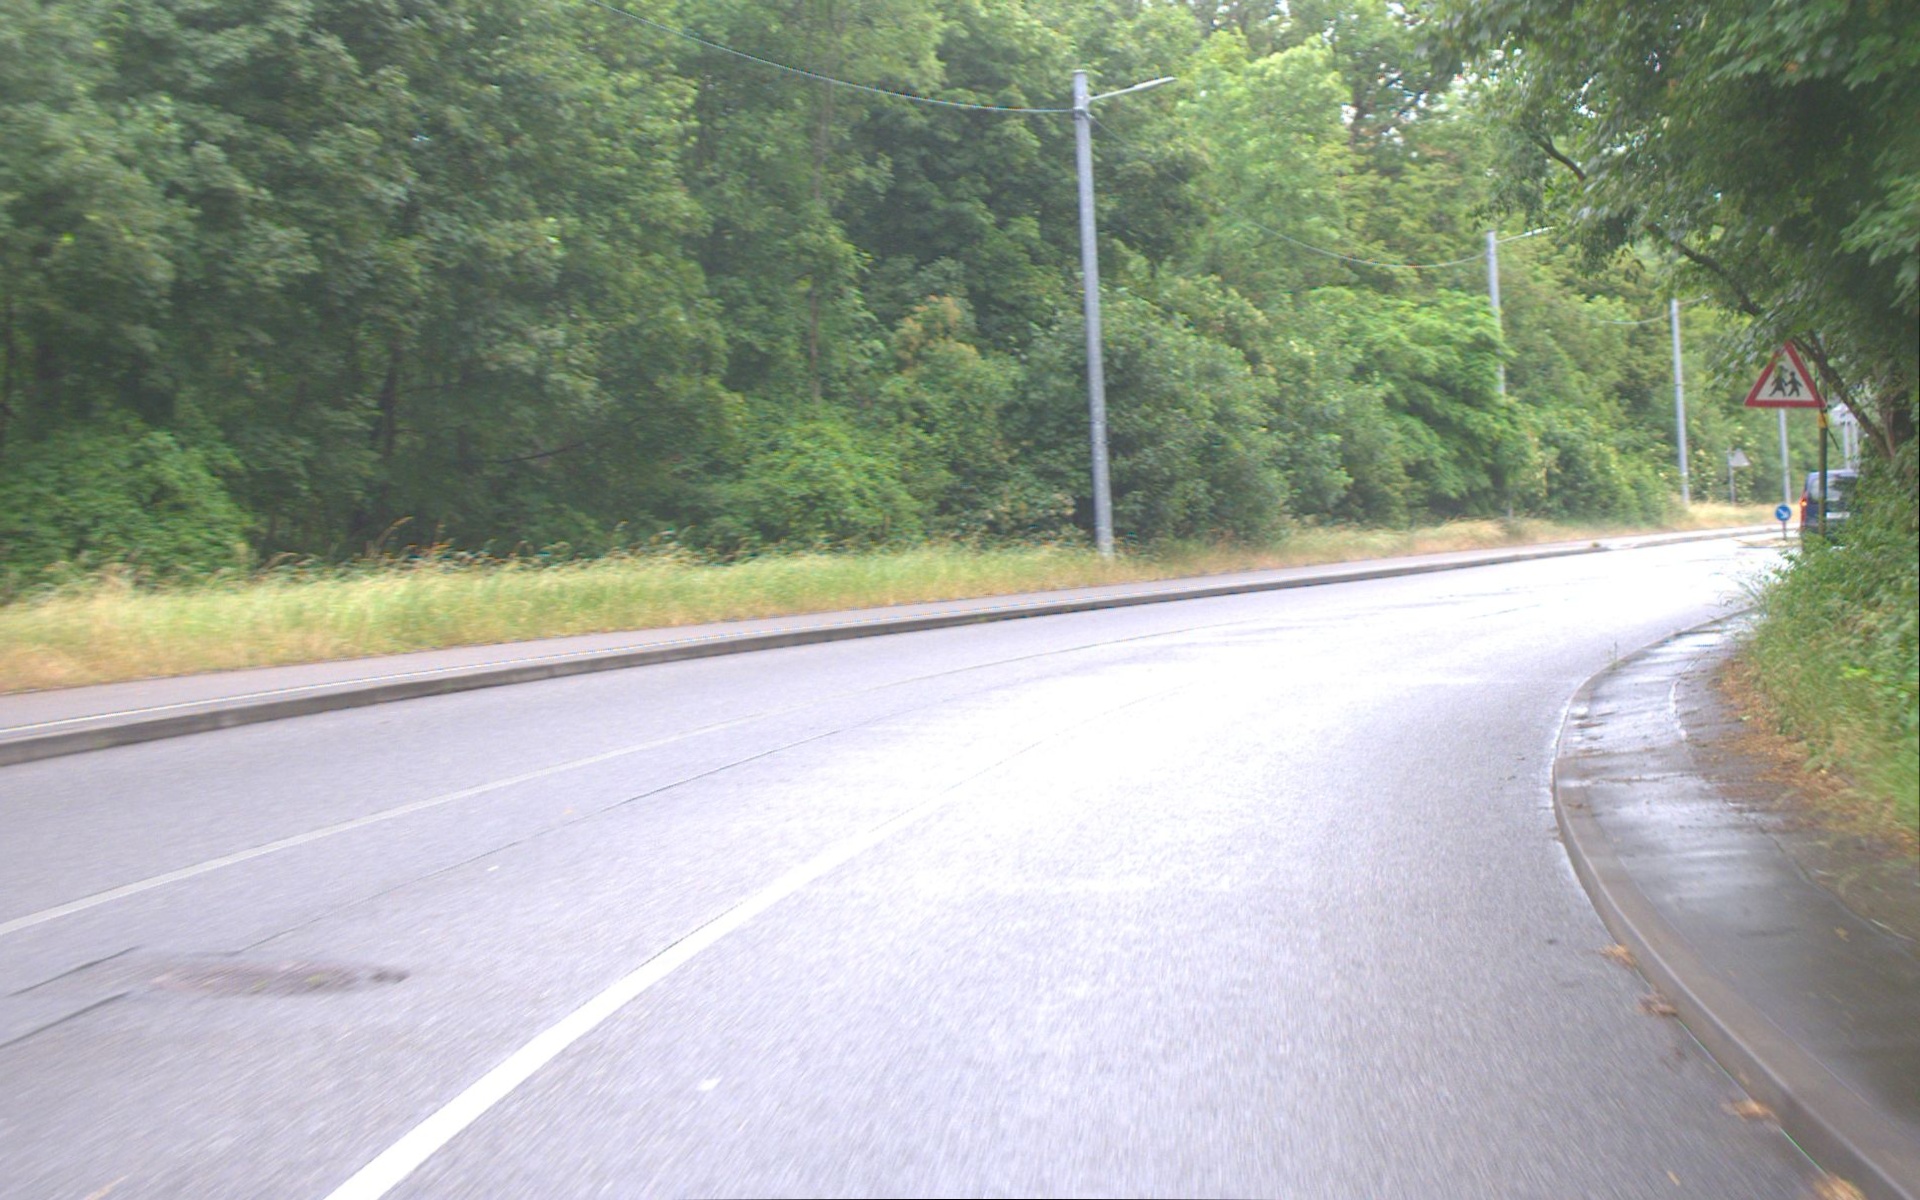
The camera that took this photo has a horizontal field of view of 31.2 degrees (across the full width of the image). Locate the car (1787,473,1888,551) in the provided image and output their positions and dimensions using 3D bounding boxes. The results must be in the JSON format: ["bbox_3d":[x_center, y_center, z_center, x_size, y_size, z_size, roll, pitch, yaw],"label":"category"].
[{"bbox_3d":[18.958,-1.918,74.212,1.669,1.588,3.679,-2,1,21],"label":"car"}]
